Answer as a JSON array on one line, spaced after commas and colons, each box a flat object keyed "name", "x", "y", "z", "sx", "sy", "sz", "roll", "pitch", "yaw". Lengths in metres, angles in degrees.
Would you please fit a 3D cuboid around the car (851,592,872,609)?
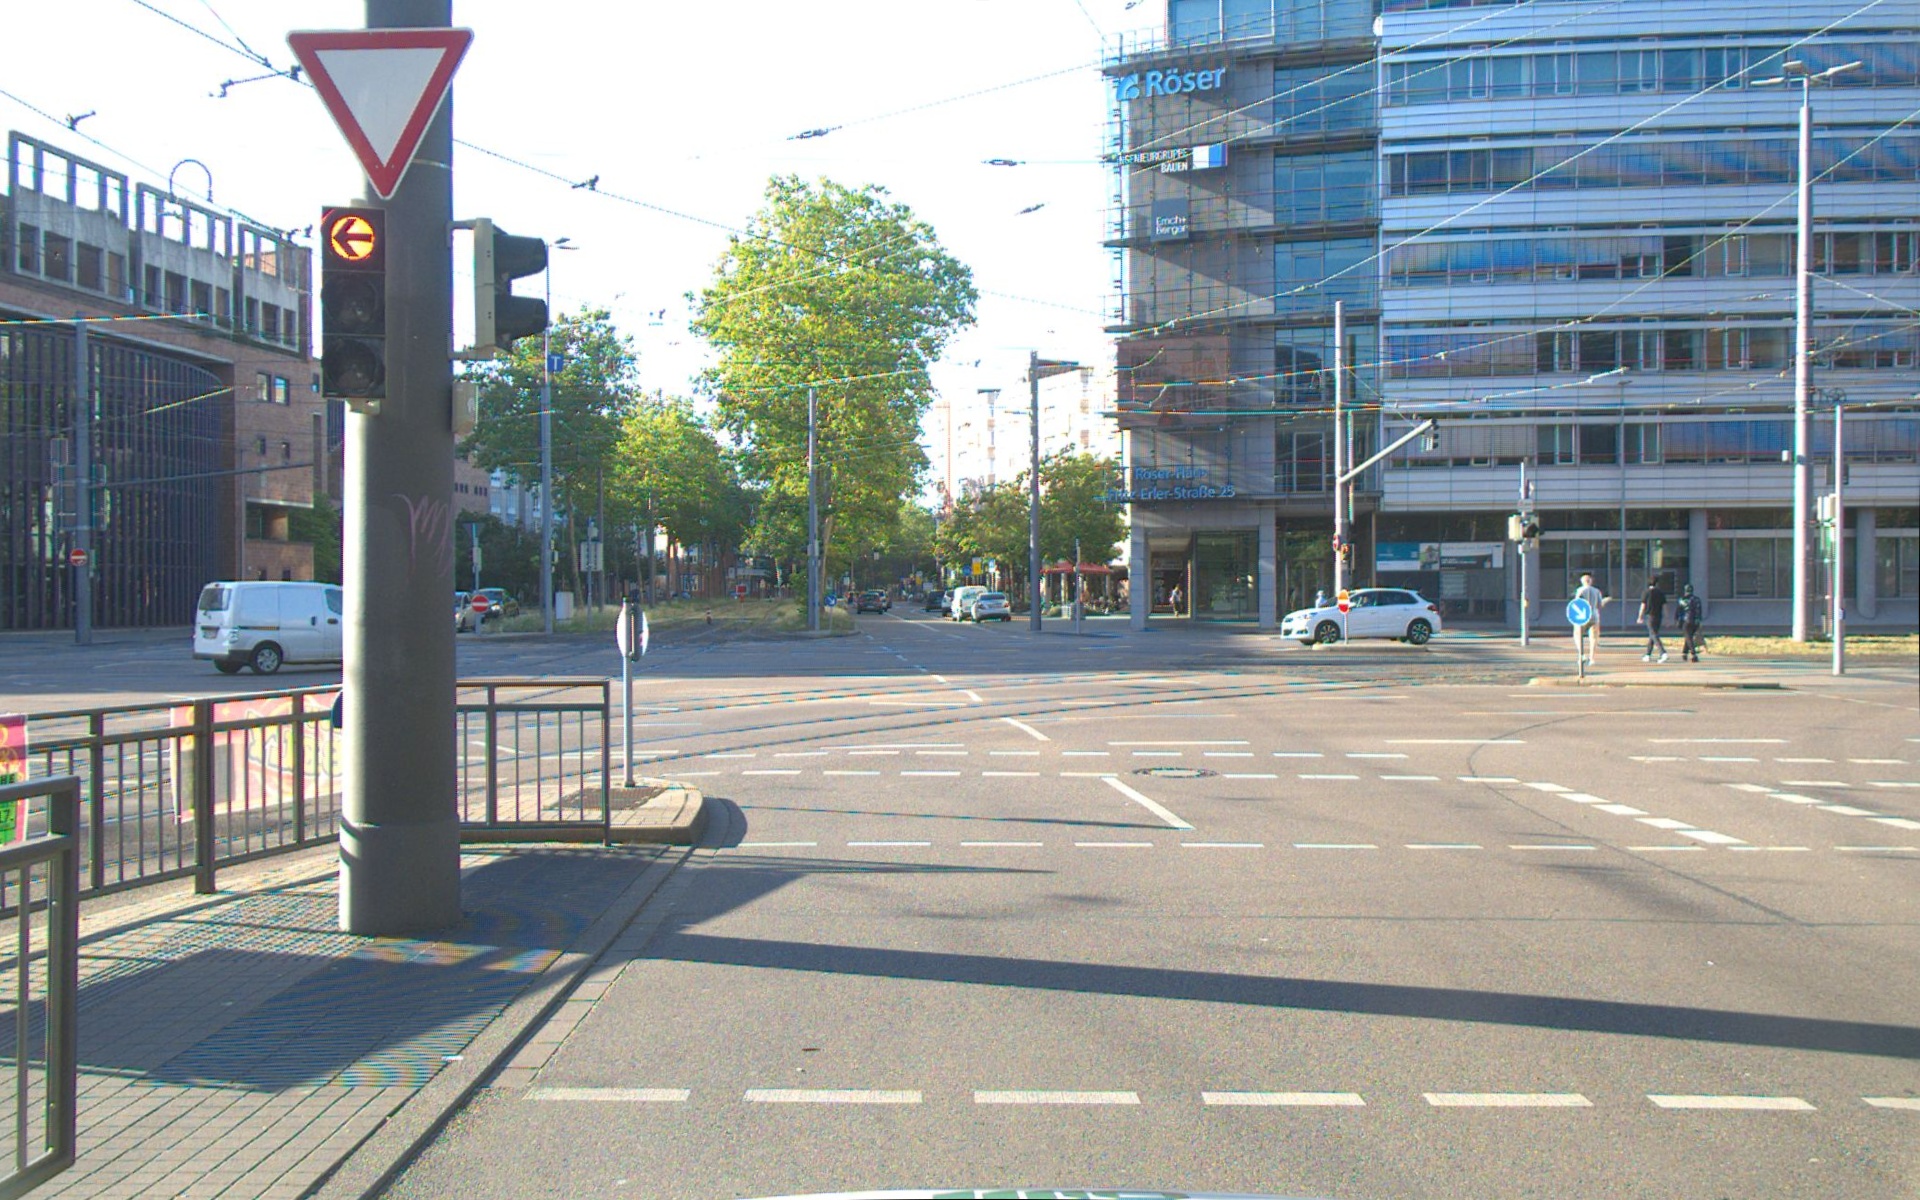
[{"name": "car", "x": -8.705, "y": 0.028, "z": 146.896, "sx": 1.762, "sy": 1.467, "sz": 3.998, "roll": 1, "pitch": 0, "yaw": -3}]

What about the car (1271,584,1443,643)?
[{"name": "car", "x": 10.769, "y": 0.347, "z": 45.004, "sx": 4.213, "sy": 1.514, "sz": 1.759, "roll": -1, "pitch": 0, "yaw": -7}]

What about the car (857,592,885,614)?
[{"name": "car", "x": -6.094, "y": 0.205, "z": 114.010, "sx": 1.761, "sy": 1.467, "sz": 3.999, "roll": -1, "pitch": 0, "yaw": -1}]

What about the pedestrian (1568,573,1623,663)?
[{"name": "pedestrian", "x": 13.126, "y": 0.361, "z": 34.172, "sx": 0.845, "sy": 1.820, "sz": 0.872, "roll": -1, "pitch": 0, "yaw": 6}]

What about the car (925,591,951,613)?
[{"name": "car", "x": -1.682, "y": 0.137, "z": 126.616, "sx": 1.953, "sy": 1.646, "sz": 3.999, "roll": -1, "pitch": 0, "yaw": -1}]

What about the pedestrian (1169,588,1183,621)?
[{"name": "pedestrian", "x": 10.272, "y": 0.203, "z": 78.642, "sx": 0.599, "sy": 1.534, "sz": 0.579, "roll": -1, "pitch": 0, "yaw": 7}]

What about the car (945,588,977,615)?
[{"name": "car", "x": 0.034, "y": 0.076, "z": 105.193, "sx": 1.953, "sy": 1.646, "sz": 3.999, "roll": -1, "pitch": 0, "yaw": -1}]

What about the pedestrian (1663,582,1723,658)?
[{"name": "pedestrian", "x": 15.789, "y": 0.422, "z": 35.654, "sx": 0.928, "sy": 1.591, "sz": 0.897, "roll": -1, "pitch": 0, "yaw": 6}]

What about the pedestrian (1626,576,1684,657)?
[{"name": "pedestrian", "x": 15.068, "y": 0.354, "z": 35.890, "sx": 0.893, "sy": 1.714, "sz": 1.036, "roll": -1, "pitch": 0, "yaw": 6}]

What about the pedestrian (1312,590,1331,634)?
[{"name": "pedestrian", "x": 12.691, "y": 0.409, "z": 58.045, "sx": 0.599, "sy": 1.534, "sz": 0.579, "roll": -1, "pitch": 0, "yaw": 7}]

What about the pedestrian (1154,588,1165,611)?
[{"name": "pedestrian", "x": 15.218, "y": -0.030, "z": 125.965, "sx": 0.729, "sy": 1.744, "sz": 0.612, "roll": -1, "pitch": 0, "yaw": -1}]

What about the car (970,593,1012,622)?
[{"name": "car", "x": 1.535, "y": 0.340, "z": 82.771, "sx": 1.953, "sy": 1.400, "sz": 3.999, "roll": -1, "pitch": 0, "yaw": -1}]

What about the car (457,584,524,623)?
[{"name": "car", "x": -21.122, "y": 0.146, "z": 74.576, "sx": 1.953, "sy": 1.668, "sz": 3.999, "roll": -1, "pitch": 0, "yaw": -2}]

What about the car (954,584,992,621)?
[{"name": "car", "x": 0.686, "y": 0.120, "z": 89.557, "sx": 1.953, "sy": 1.892, "sz": 3.999, "roll": -1, "pitch": 0, "yaw": -1}]

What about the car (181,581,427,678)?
[{"name": "car", "x": -13.638, "y": 0.561, "z": 34.603, "sx": 1.729, "sy": 1.899, "sz": 4.500, "roll": -1, "pitch": 0, "yaw": 41}]

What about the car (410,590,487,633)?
[{"name": "car", "x": -20.668, "y": 0.445, "z": 67.017, "sx": 1.953, "sy": 1.668, "sz": 3.999, "roll": -1, "pitch": 0, "yaw": -2}]

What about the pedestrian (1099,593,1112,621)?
[{"name": "pedestrian", "x": 9.253, "y": 0.432, "z": 105.178, "sx": 0.729, "sy": 1.744, "sz": 0.612, "roll": -1, "pitch": 0, "yaw": -1}]
